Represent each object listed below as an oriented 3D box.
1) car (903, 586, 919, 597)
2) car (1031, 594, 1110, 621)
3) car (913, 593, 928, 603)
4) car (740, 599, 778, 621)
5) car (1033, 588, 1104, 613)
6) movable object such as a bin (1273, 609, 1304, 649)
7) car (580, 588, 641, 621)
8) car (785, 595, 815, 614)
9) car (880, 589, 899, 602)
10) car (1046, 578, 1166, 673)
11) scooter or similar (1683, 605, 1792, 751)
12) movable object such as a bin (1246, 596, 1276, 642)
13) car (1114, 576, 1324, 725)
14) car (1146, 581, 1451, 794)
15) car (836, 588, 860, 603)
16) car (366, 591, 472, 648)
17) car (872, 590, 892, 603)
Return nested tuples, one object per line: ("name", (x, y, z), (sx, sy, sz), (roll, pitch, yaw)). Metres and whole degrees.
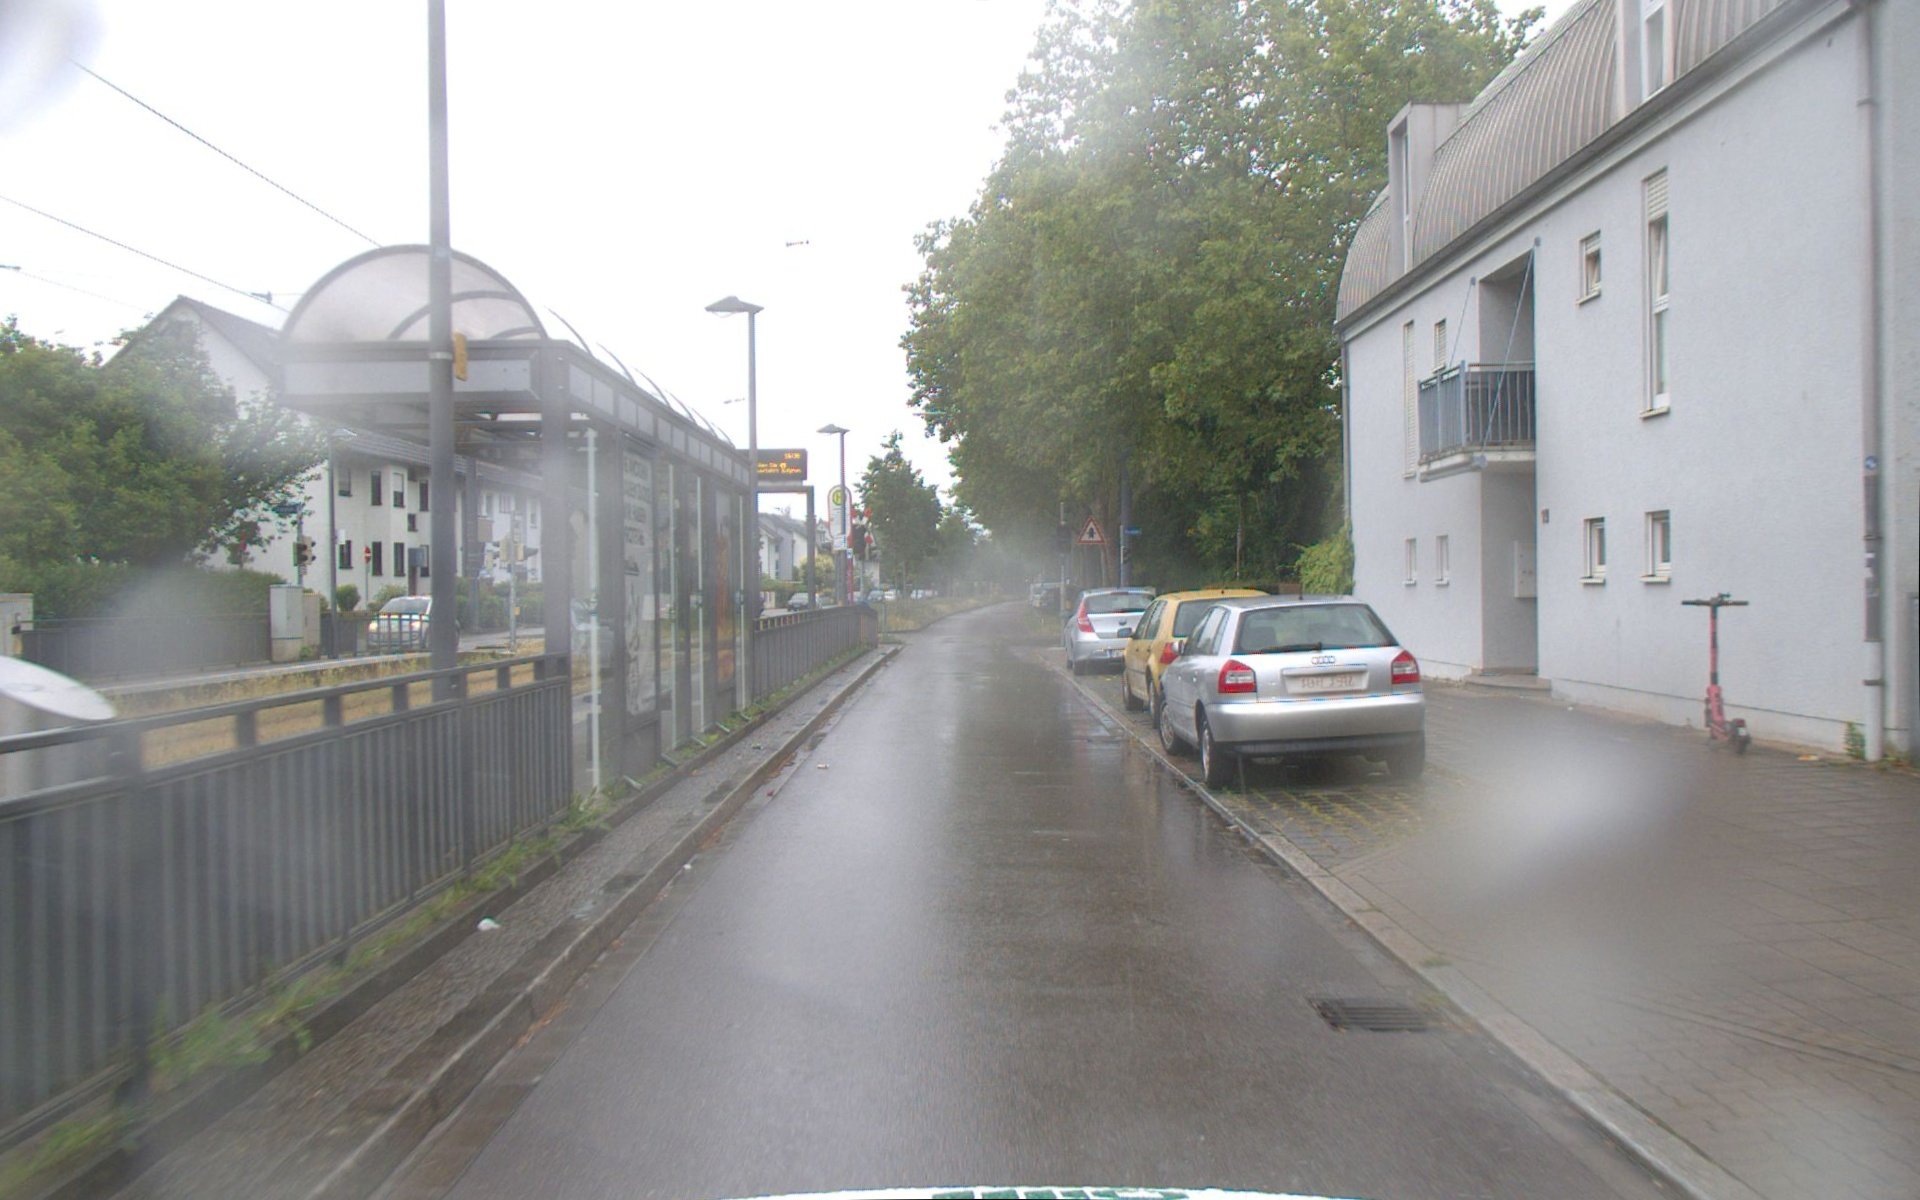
("car", (-6.806, -1.137, 231.312), (1.888, 1.512, 4.001), (0, 0, 3))
("car", (5.979, 0.415, 89.704), (3.920, 1.478, 1.992), (0, 0, -15))
("car", (-5.896, -0.277, 245.077), (1.888, 1.512, 4.001), (0, 0, 3))
("car", (-13.741, 0.670, 113.293), (1.888, 1.512, 4.001), (0, 0, 3))
("car", (6.640, 0.022, 101.213), (3.920, 1.478, 1.992), (0, 0, -15))
("movable object such as a bin", (7.713, 0.678, 38.867), (0.525, 0.914, 0.738), (-3, 0, -1))
("car", (-16.562, 0.237, 78.566), (1.888, 1.512, 4.001), (0, 0, 3))
("car", (-12.827, 0.394, 132.786), (1.888, 1.512, 4.001), (0, 0, 3))
("car", (-8.556, -0.530, 201.207), (1.888, 1.512, 4.001), (0, 0, 3))
("car", (2.584, 0.441, 30.019), (1.770, 1.493, 3.794), (-4, 0, 0))
("scooter or similar", (6.200, 0.598, 13.244), (0.326, 1.104, 1.396), (0, 0, 5))
("movable object such as a bin", (7.112, 0.444, 39.071), (0.525, 1.039, 0.738), (-3, 0, -1))
("car", (2.873, 0.535, 19.136), (1.770, 1.429, 3.794), (-4, 0, 0))
("car", (2.715, 0.648, 14.300), (1.616, 1.429, 4.649), (-4, 0, 0))
("car", (-11.311, -0.464, 167.440), (1.888, 1.512, 4.001), (0, 0, 3))
("car", (-15.107, 0.525, 46.366), (1.599, 1.519, 4.000), (0, 0, 1))
("car", (-8.943, -0.417, 189.491), (1.888, 1.512, 4.001), (0, 0, 3))
